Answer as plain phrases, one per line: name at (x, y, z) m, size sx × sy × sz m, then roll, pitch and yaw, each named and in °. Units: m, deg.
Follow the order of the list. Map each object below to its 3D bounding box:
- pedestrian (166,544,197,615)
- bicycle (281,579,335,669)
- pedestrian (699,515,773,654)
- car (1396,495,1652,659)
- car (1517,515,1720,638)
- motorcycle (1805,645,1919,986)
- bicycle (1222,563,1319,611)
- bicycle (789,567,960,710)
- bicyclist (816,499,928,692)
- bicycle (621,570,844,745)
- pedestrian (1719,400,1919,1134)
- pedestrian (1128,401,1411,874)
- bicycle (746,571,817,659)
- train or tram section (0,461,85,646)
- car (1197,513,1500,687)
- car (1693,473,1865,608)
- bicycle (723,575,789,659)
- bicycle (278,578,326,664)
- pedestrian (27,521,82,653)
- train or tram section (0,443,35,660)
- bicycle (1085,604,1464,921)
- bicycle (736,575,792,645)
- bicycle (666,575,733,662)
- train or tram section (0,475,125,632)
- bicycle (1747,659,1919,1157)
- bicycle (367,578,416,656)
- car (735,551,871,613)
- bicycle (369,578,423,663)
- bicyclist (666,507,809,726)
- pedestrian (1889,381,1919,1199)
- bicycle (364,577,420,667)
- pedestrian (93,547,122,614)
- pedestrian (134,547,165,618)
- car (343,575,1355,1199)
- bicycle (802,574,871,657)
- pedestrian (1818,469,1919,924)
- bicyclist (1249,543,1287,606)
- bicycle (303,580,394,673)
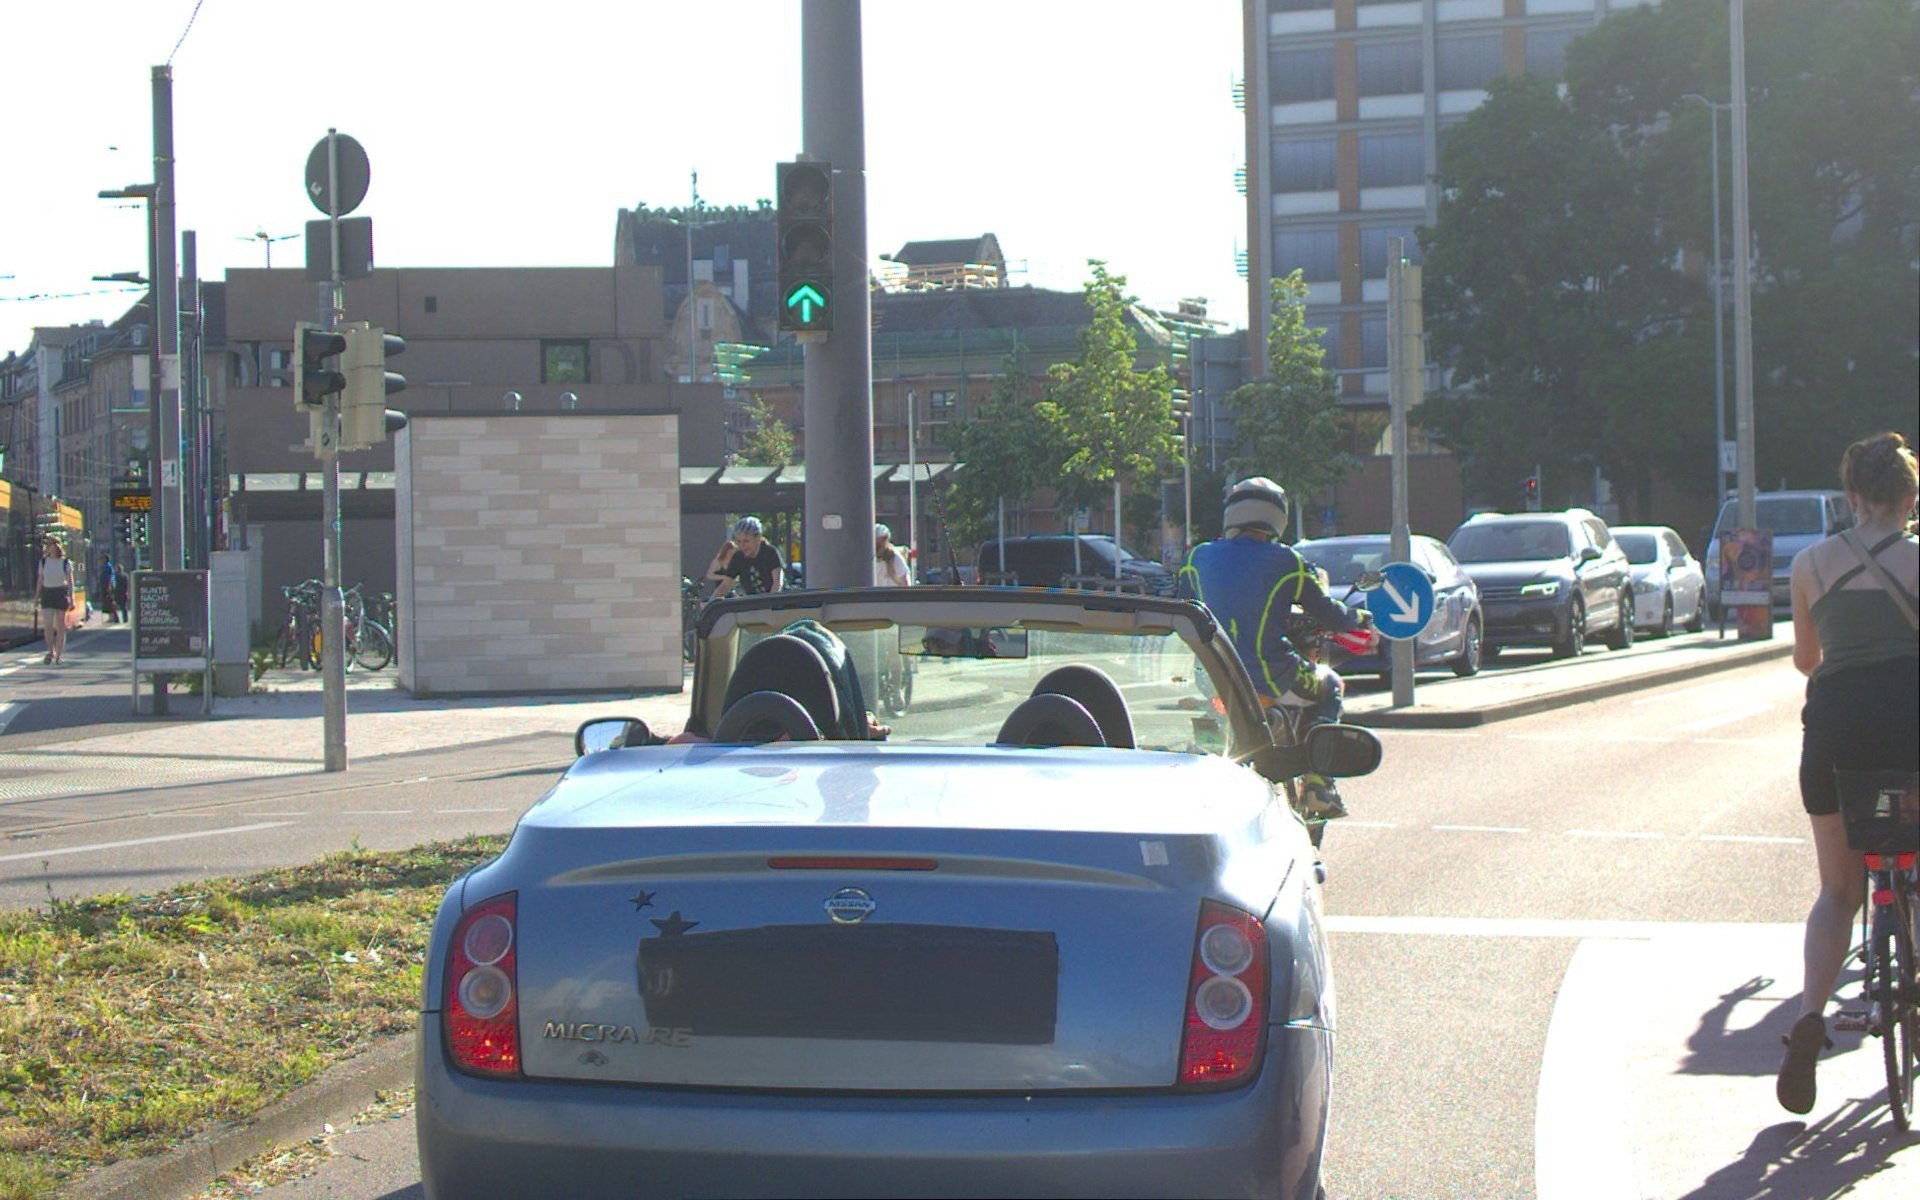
pedestrian at (-19.514, -0.516, 86.143) m, size 0.637 × 1.743 × 0.736 m, roll -1°, pitch 1°, yaw -19°
bicycle at (-8.366, 0.297, 44.072) m, size 0.606 × 1.111 × 1.897 m, roll 1°, pitch 1°, yaw -12°
pedestrian at (-3.053, -0.211, 46.814) m, size 0.900 × 1.862 × 0.687 m, roll 1°, pitch 0°, yaw -12°
car at (6.504, -0.290, 39.252) m, size 1.763 × 1.700 × 4.525 m, roll -2°, pitch 0°, yaw 24°
car at (8.858, -0.342, 46.032) m, size 1.697 × 1.555 × 3.974 m, roll -1°, pitch 1°, yaw 25°
motorcycle at (3.510, 0.742, 12.689) m, size 0.614 × 1.094 × 2.358 m, roll 1°, pitch 1°, yaw 17°
bicycle at (7.910, -0.344, 87.510) m, size 2.411 × 1.187 × 0.609 m, roll 1°, pitch 1°, yaw 30°
bicycle at (-0.725, 0.317, 30.121) m, size 0.675 × 1.176 × 2.181 m, roll -1°, pitch 1°, yaw 22°
bicyclist at (-0.769, -0.044, 30.026) m, size 0.709 × 1.651 × 0.742 m, roll -1°, pitch 1°, yaw 22°
bicycle at (-1.740, 0.421, 26.809) m, size 0.675 × 1.246 × 2.454 m, roll -3°, pitch 0°, yaw 22°
pedestrian at (2.396, 0.419, 9.192) m, size 0.659 × 1.862 × 0.872 m, roll 1°, pitch 0°, yaw 15°
pedestrian at (1.283, 0.140, 14.163) m, size 0.834 × 1.862 × 0.919 m, roll 1°, pitch 0°, yaw 29°
bicycle at (-2.357, 0.188, 45.266) m, size 0.606 × 1.111 × 1.897 m, roll 1°, pitch 1°, yaw -12°
train or tram section at (-20.510, -0.997, 72.672) m, size 3.011 × 3.584 × 12.203 m, roll 1°, pitch 1°, yaw -10°
car at (3.848, -0.015, 33.496) m, size 1.739 × 1.568 × 3.919 m, roll 1°, pitch 1°, yaw 25°
car at (12.880, -0.933, 53.896) m, size 1.911 × 1.938 × 4.701 m, roll -2°, pitch 0°, yaw 21°
bicycle at (-2.808, 0.222, 47.198) m, size 0.606 × 1.111 × 1.897 m, roll 1°, pitch 1°, yaw -12°
bicycle at (-8.800, 0.272, 45.997) m, size 0.606 × 1.111 × 1.897 m, roll 1°, pitch 1°, yaw -11°
pedestrian at (-12.162, -0.176, 46.184) m, size 0.637 × 1.743 × 0.572 m, roll -1°, pitch 1°, yaw -19°
train or tram section at (-18.167, -0.856, 60.681) m, size 2.880 × 3.584 × 12.203 m, roll 1°, pitch 1°, yaw -12°
bicycle at (1.354, 0.620, 14.262) m, size 0.609 × 1.187 × 2.410 m, roll 1°, pitch 1°, yaw 30°
bicycle at (-3.247, 0.154, 56.751) m, size 0.606 × 1.111 × 1.897 m, roll 1°, pitch 1°, yaw -12°
bicycle at (-3.431, 0.234, 45.125) m, size 0.606 × 1.111 × 1.897 m, roll 1°, pitch 1°, yaw -12°
train or tram section at (-22.578, -1.145, 84.598) m, size 3.039 × 3.584 × 12.055 m, roll 1°, pitch 1°, yaw -9°
bicycle at (2.441, 0.760, 9.249) m, size 0.564 × 1.147 × 1.948 m, roll 1°, pitch 1°, yaw 14°
bicycle at (-8.331, 0.241, 50.341) m, size 0.606 × 1.111 × 1.897 m, roll 1°, pitch 1°, yaw -12°
car at (-4.052, -0.459, 88.484) m, size 1.640 × 1.555 × 3.599 m, roll -2°, pitch 1°, yaw -39°
bicycle at (-7.630, 0.263, 46.466) m, size 0.606 × 1.111 × 1.897 m, roll 1°, pitch 1°, yaw -12°
bicyclist at (-1.732, 0.121, 26.871) m, size 0.709 × 1.651 × 0.900 m, roll -3°, pitch 0°, yaw 22°
pedestrian at (2.488, 0.454, 7.399) m, size 0.806 × 1.862 × 0.956 m, roll 1°, pitch 0°, yaw 8°
bicycle at (-7.341, 0.275, 44.402) m, size 0.606 × 1.111 × 1.897 m, roll 1°, pitch 1°, yaw -12°
pedestrian at (-22.296, -0.519, 89.928) m, size 0.604 × 1.743 × 0.832 m, roll -1°, pitch 1°, yaw -8°
pedestrian at (-20.254, -0.441, 85.916) m, size 0.637 × 1.743 × 0.736 m, roll -1°, pitch 1°, yaw -19°
car at (0.032, 0.676, 7.694) m, size 1.660 × 1.436 × 4.153 m, roll 1°, pitch 1°, yaw 6°
bicycle at (-1.722, 0.201, 47.585) m, size 0.606 × 1.111 × 1.897 m, roll 1°, pitch 1°, yaw -12°
pedestrian at (3.469, 0.336, 12.536) m, size 0.588 × 1.593 × 1.024 m, roll 1°, pitch 0°, yaw 17°
bicyclist at (7.844, -0.649, 87.551) m, size 0.753 × 1.593 × 0.588 m, roll 1°, pitch 0°, yaw 30°
bicycle at (-7.546, 0.315, 42.467) m, size 0.607 × 1.111 × 1.896 m, roll 1°, pitch 1°, yaw 5°
